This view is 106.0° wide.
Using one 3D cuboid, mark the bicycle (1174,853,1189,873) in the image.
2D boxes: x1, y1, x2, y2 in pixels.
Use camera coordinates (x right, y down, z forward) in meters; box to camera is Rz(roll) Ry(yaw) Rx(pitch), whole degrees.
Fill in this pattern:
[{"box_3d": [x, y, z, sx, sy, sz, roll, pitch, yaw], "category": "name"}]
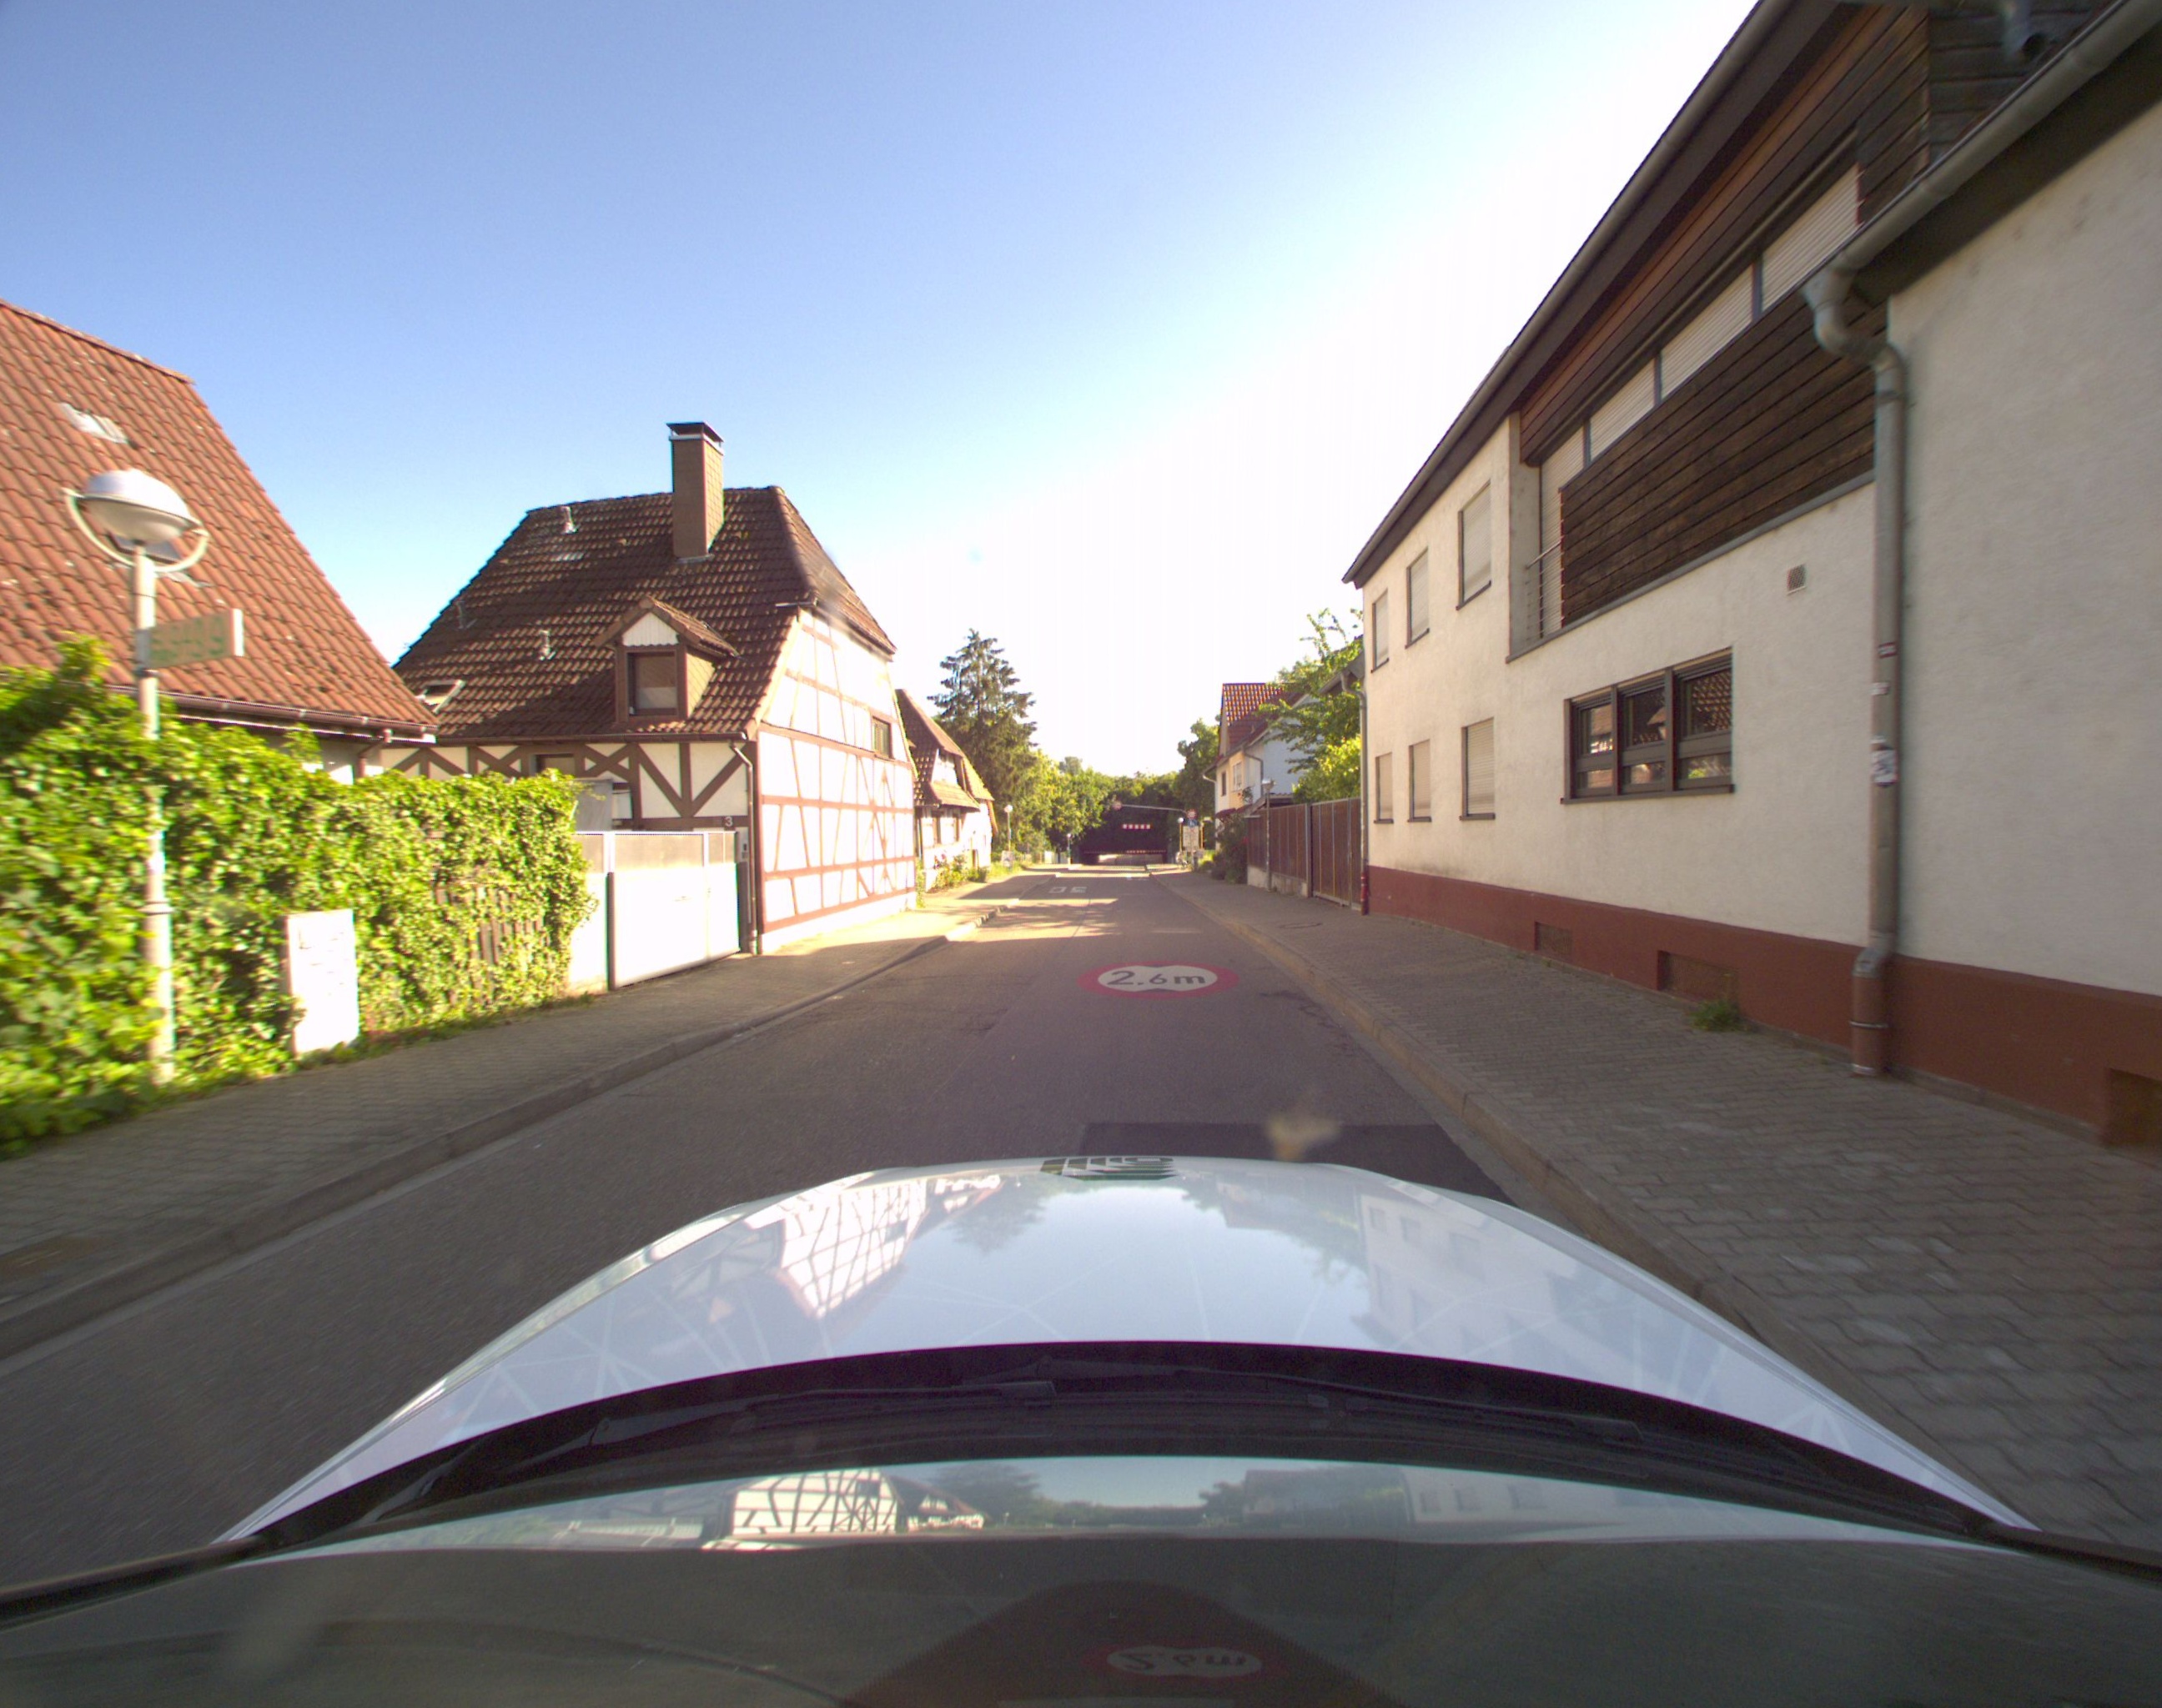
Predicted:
[{"box_3d": [6.422, 0.578, 52.093, 0.686, 1.157, 1.540, -6, 1, 2], "category": "bicycle"}]
